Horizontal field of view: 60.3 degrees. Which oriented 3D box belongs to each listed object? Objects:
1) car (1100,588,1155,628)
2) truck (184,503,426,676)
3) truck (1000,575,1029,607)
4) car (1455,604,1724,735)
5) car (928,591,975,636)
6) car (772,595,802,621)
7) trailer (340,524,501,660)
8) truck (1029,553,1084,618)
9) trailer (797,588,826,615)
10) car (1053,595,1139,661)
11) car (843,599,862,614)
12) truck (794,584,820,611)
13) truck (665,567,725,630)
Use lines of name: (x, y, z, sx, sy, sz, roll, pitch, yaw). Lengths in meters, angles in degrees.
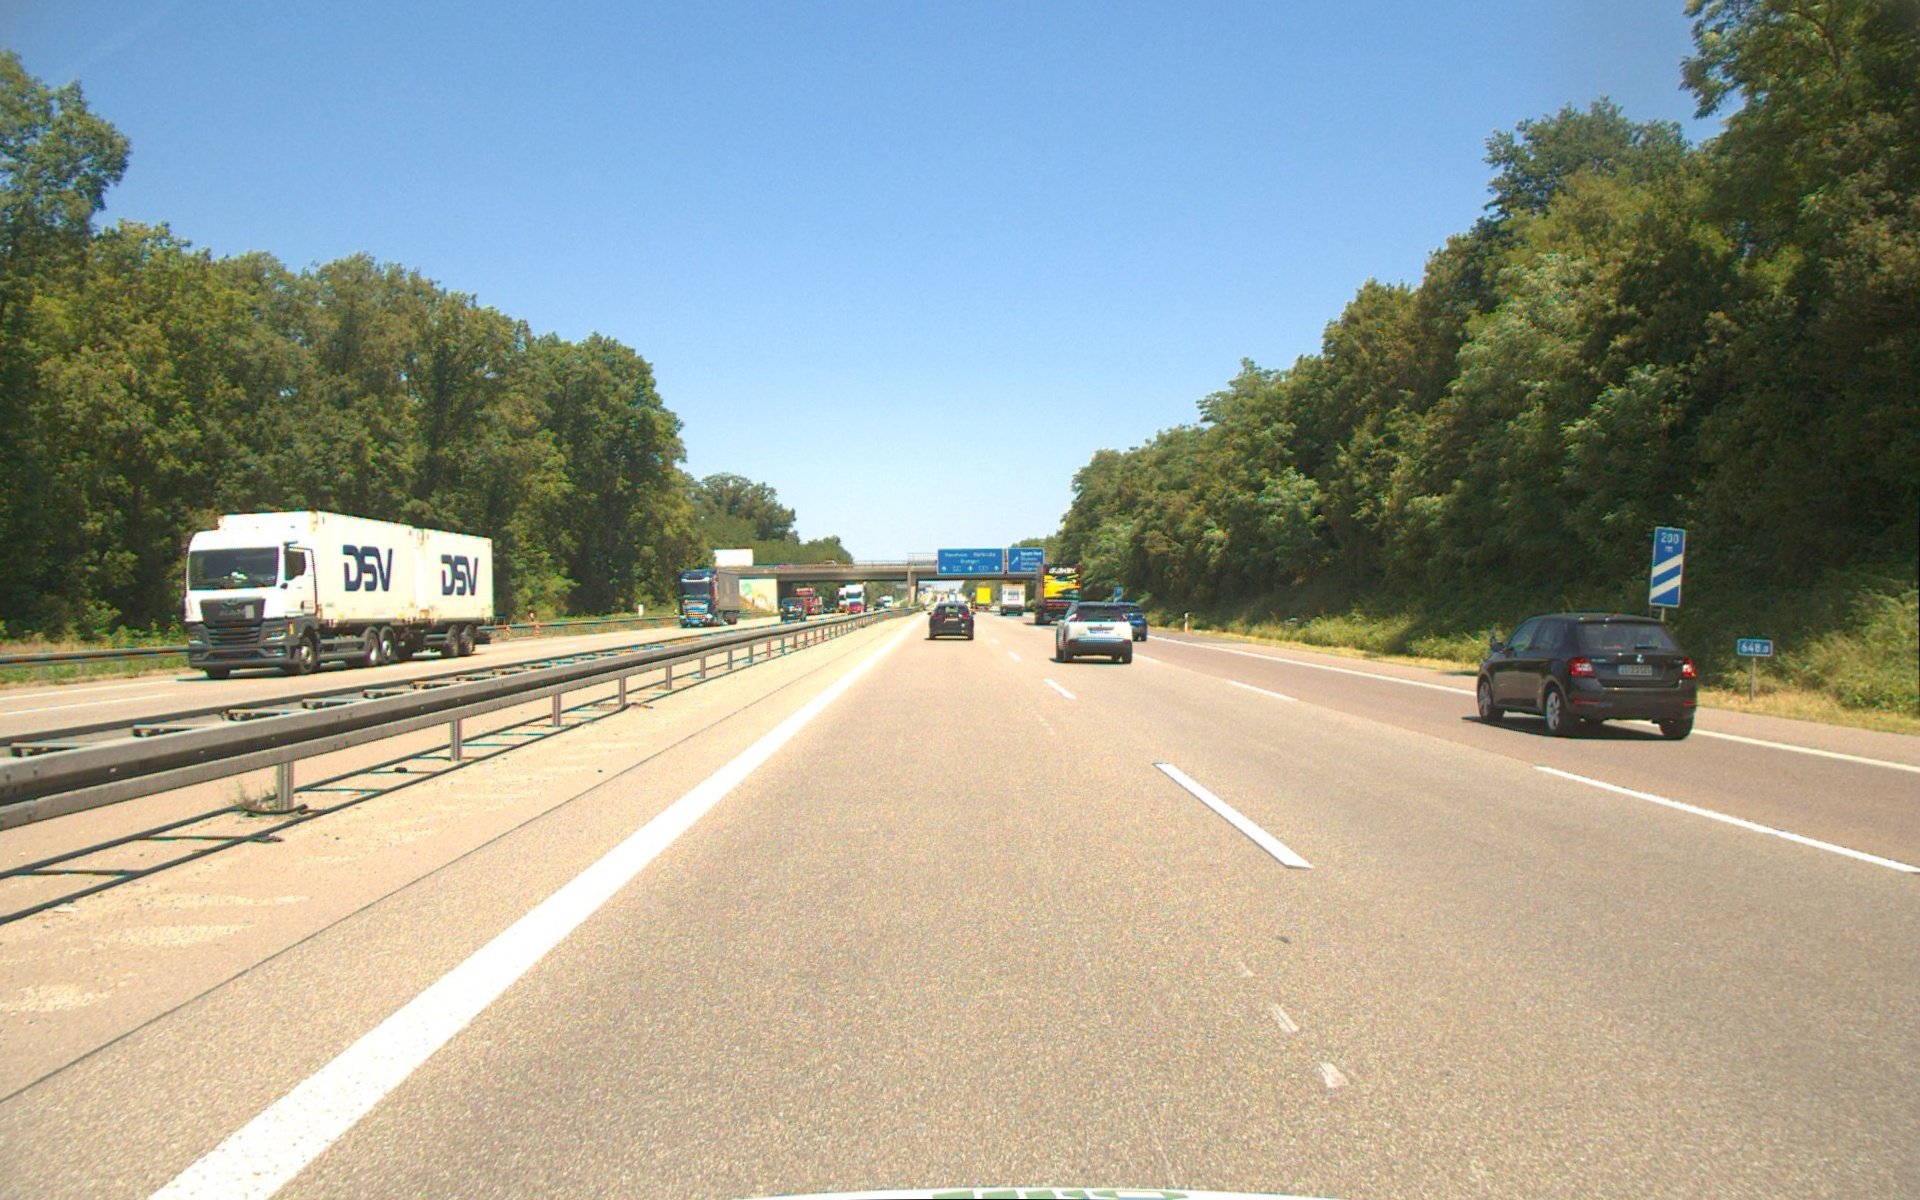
car: (6.905, 0.335, 68.561, 1.832, 1.583, 4.201, 1, 0, -1)
truck: (-17.333, -0.250, 44.697, 2.528, 4.078, 10.336, -1, 0, -1)
truck: (6.201, -0.962, 187.390, 2.965, 3.377, 10.775, 1, 0, 4)
car: (7.846, 0.799, 21.106, 1.636, 1.473, 4.573, 1, 0, -1)
car: (-0.352, 0.530, 65.605, 1.790, 1.736, 3.999, 1, 0, -1)
car: (-14.476, 0.698, 138.499, 1.953, 2.049, 5.358, -3, 0, -1)
trailer: (-17.457, -0.250, 54.160, 2.526, 4.059, 8.558, -1, 0, -1)
truck: (6.502, -0.907, 113.024, 2.914, 4.107, 10.979, 2, 0, -1)
trailer: (-19.983, 0.250, 222.869, 2.722, 3.453, 13.288, 1, 0, 0)
car: (3.524, 0.721, 43.607, 1.790, 1.636, 4.807, 0, 0, -1)
car: (-11.662, 0.714, 179.290, 1.696, 1.613, 4.644, 1, 0, 0)
truck: (-19.949, -0.317, 215.746, 2.693, 3.453, 7.660, 1, 0, 0)
truck: (-19.108, -0.086, 119.622, 3.256, 4.417, 6.611, 1, 0, -1)
